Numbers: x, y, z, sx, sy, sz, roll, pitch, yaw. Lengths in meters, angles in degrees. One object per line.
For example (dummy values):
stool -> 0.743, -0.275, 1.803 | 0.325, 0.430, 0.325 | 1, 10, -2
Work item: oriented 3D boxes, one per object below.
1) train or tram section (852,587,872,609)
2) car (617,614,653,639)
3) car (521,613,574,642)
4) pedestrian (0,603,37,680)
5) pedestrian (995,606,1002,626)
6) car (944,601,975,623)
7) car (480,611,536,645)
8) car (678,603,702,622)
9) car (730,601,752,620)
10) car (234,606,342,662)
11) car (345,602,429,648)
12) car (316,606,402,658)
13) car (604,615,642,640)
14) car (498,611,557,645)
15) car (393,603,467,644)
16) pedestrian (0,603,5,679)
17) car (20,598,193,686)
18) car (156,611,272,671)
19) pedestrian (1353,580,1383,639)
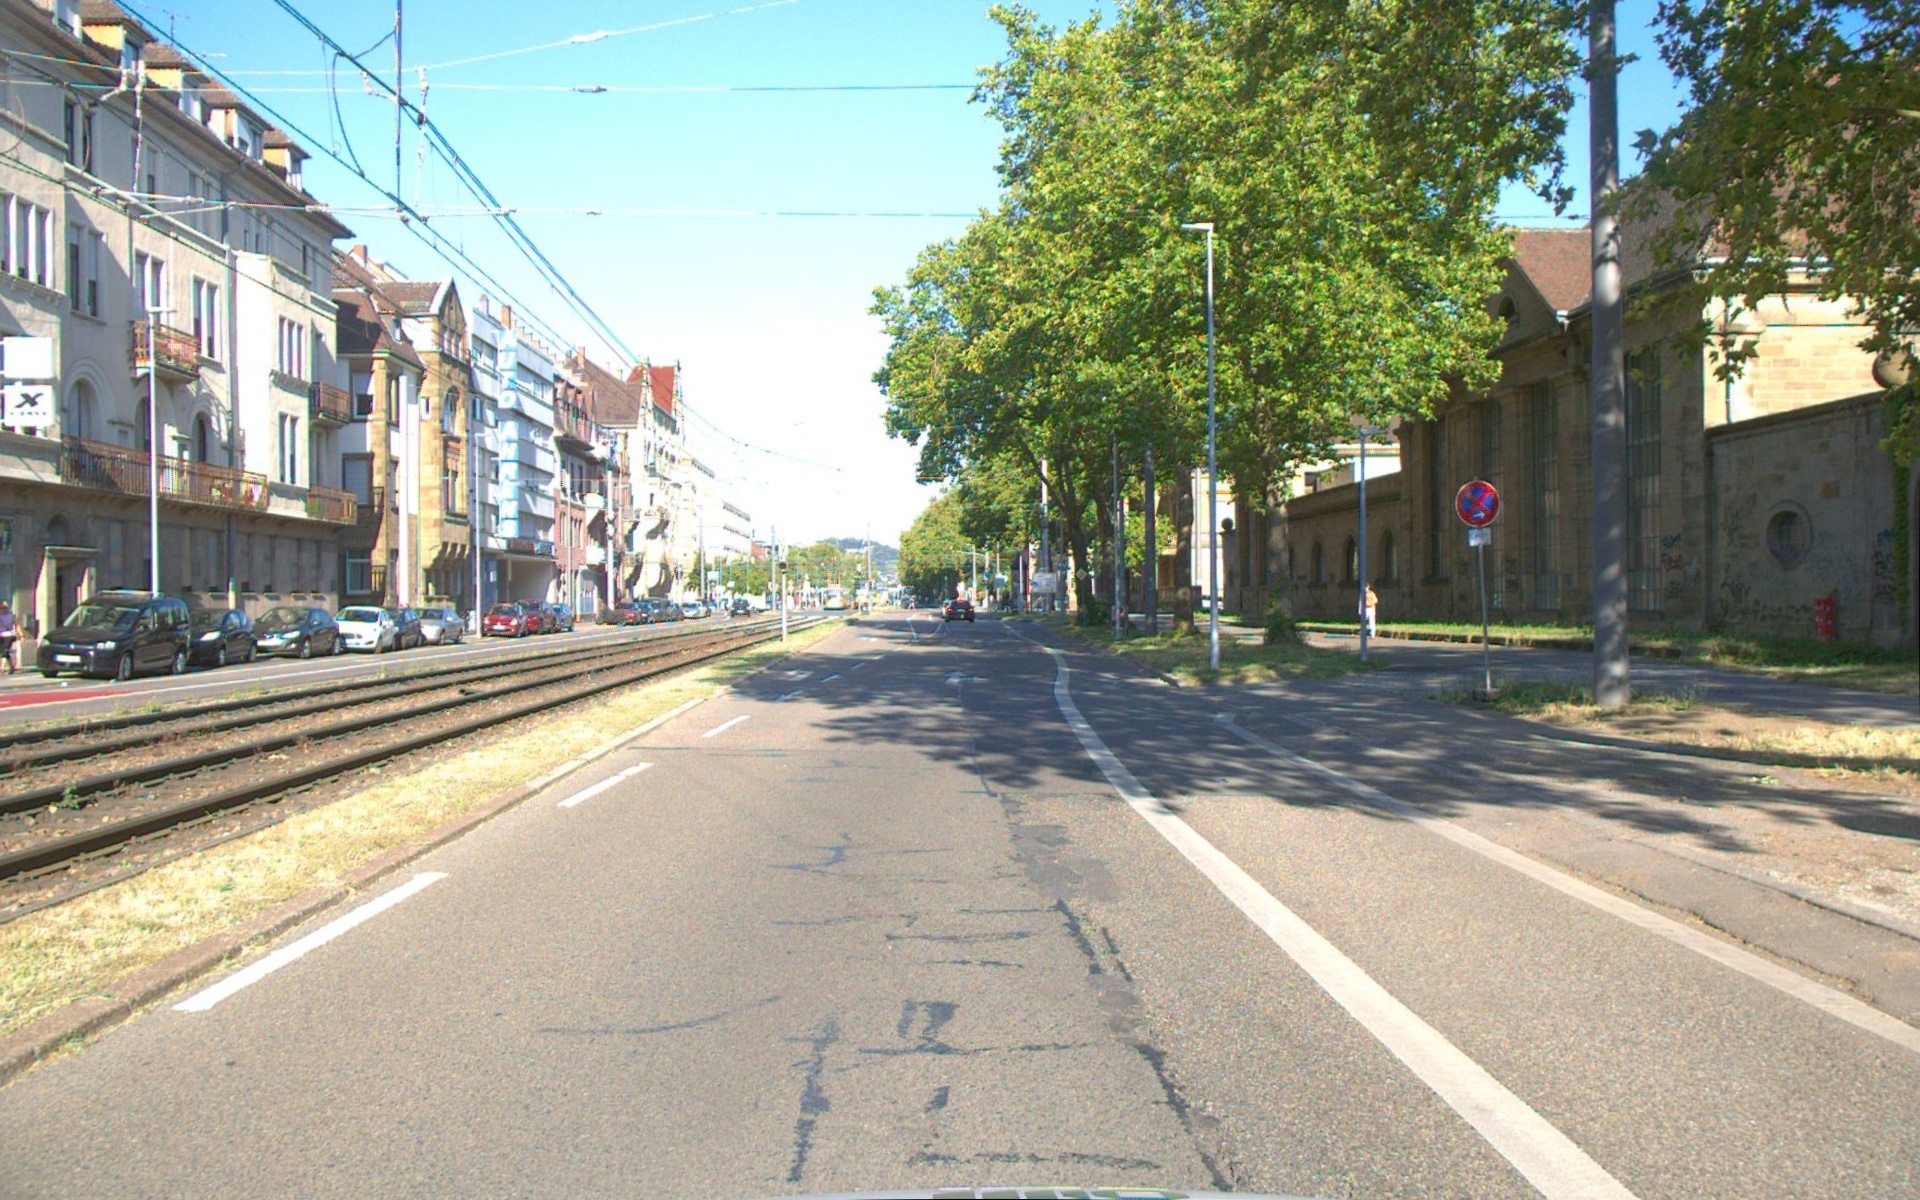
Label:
train or tram section -> -15.474, -0.307, 261.901 | 2.768, 3.511, 9.061 | -1, 0, -1
car -> -22.323, 1.808, 113.725 | 1.758, 1.536, 3.998 | 3, 0, -2
car -> -21.498, 1.418, 86.273 | 1.796, 1.415, 4.679 | 0, 0, -3
pedestrian -> -21.474, 0.935, 37.489 | 0.577, 1.726, 0.857 | 1, -1, 0
pedestrian -> 3.477, 1.443, 149.366 | 0.575, 1.758, 0.650 | 1, 0, 10
car -> -0.057, 0.757, 107.692 | 1.796, 1.415, 4.157 | 0, 0, -3
car -> -20.687, 1.248, 75.837 | 1.798, 1.415, 4.029 | 3, 0, -7
car -> -23.258, 1.040, 142.480 | 1.760, 1.536, 3.994 | 3, 0, -6
car -> -19.748, 0.974, 149.259 | 1.603, 1.629, 4.155 | -2, 0, -4
car -> -19.803, 0.963, 48.912 | 1.602, 1.494, 4.157 | 3, 0, -3
car -> -20.124, 0.869, 58.216 | 1.602, 1.494, 4.157 | 2, -1, -2
car -> -19.556, 1.022, 53.960 | 1.604, 1.494, 3.978 | 4, 0, -6
car -> -22.210, 1.815, 109.112 | 1.758, 1.485, 4.264 | 3, 0, -3
car -> -21.149, 1.346, 81.002 | 1.796, 1.585, 4.352 | 1, 0, -1
car -> -20.351, 0.876, 63.624 | 1.602, 1.494, 4.158 | 1, 0, -2
pedestrian -> -22.159, 0.919, 37.385 | 0.577, 1.726, 0.857 | 1, -1, 0
car -> -19.377, 0.904, 37.768 | 1.825, 1.817, 4.399 | 1, 0, -3
car -> -19.744, 1.052, 43.898 | 1.595, 1.415, 3.506 | 3, 0, -3
pedestrian -> 12.210, 0.279, 49.495 | 0.596, 1.711, 0.635 | -5, 0, -4
